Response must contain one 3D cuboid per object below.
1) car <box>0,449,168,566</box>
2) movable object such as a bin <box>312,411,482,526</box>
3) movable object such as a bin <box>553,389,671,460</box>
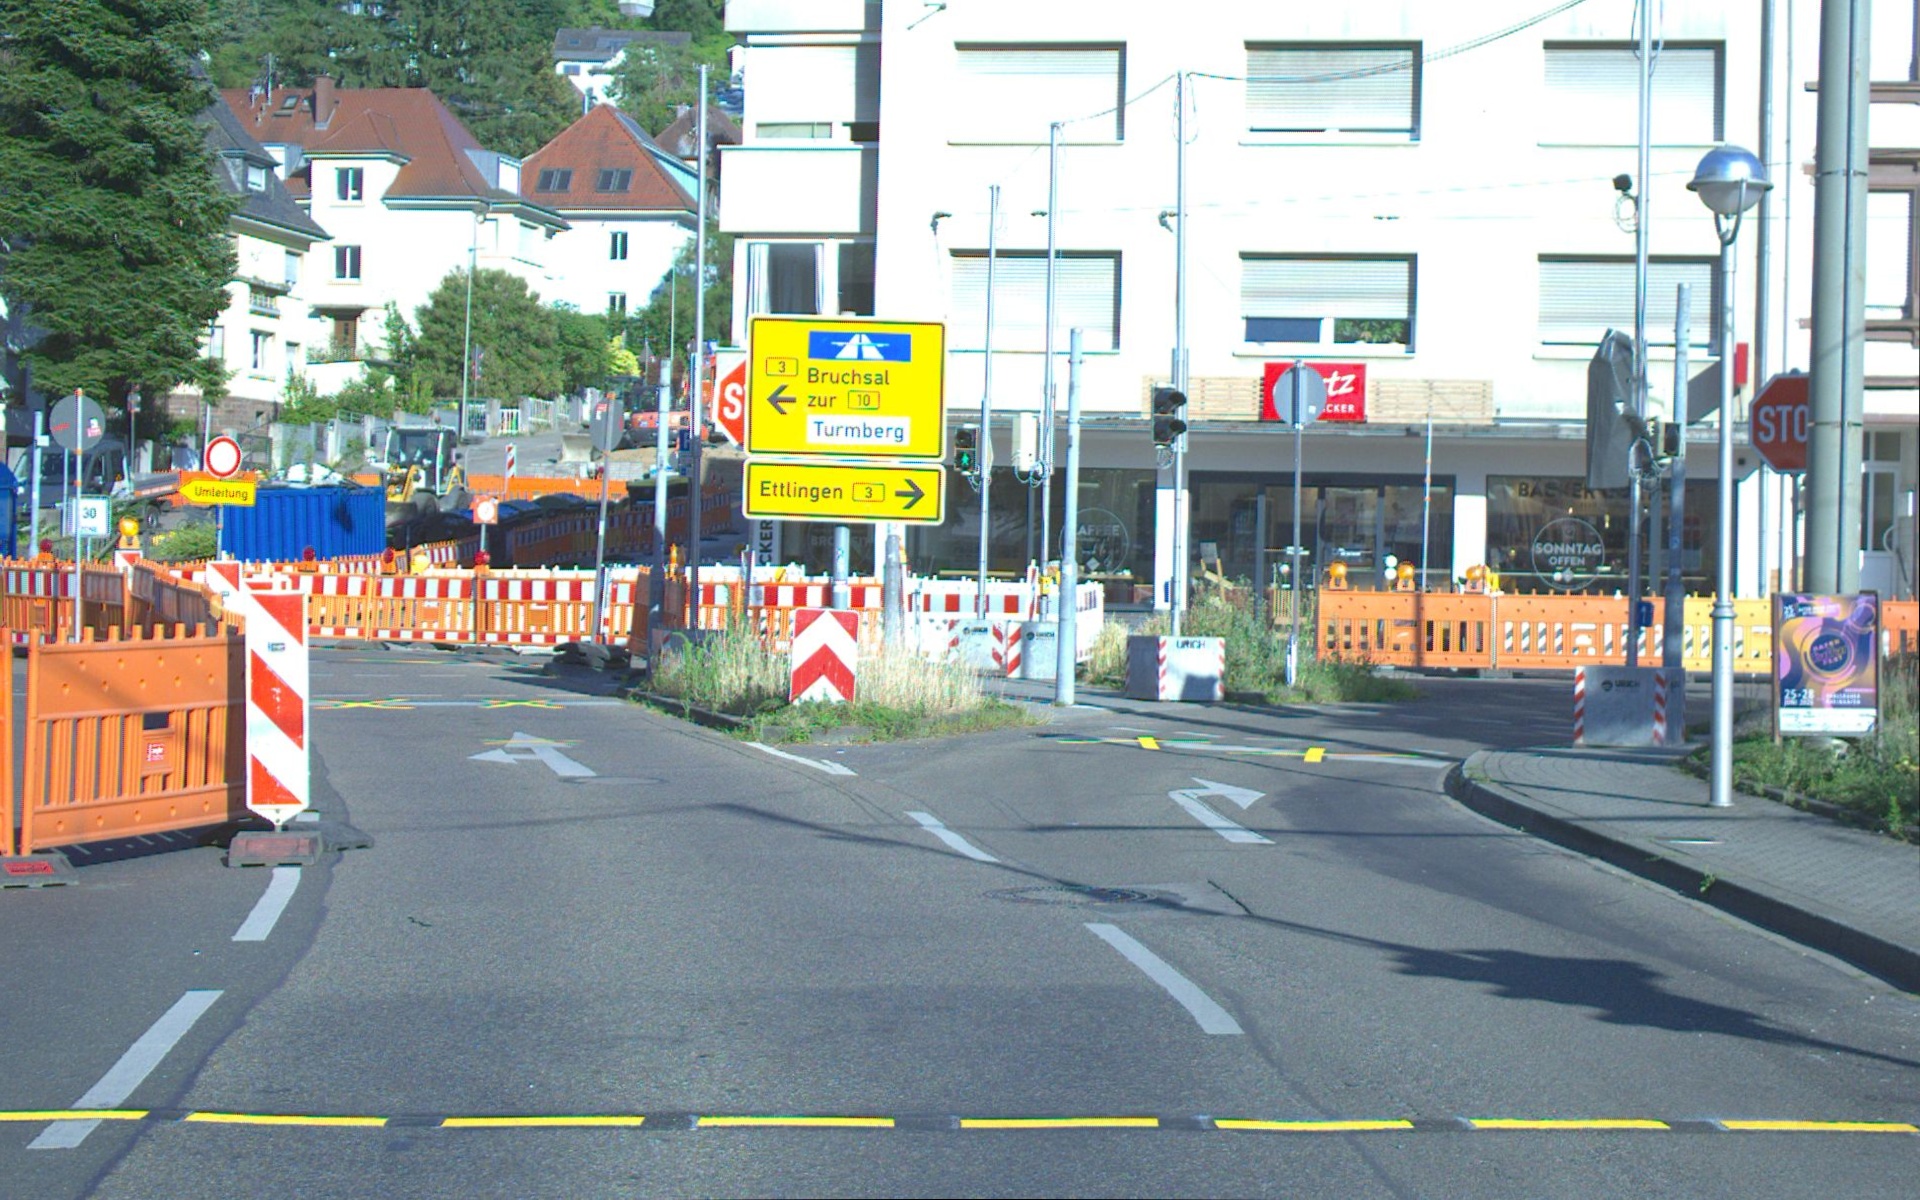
[{"bbox_3d":[-17.998,-1.748,66.131,2.585,2.113,6.145,1,1,18],"label":"car"},{"bbox_3d":[-12.887,-2.982,78.946,1.950,2.486,4.547,1,1,18],"label":"movable object such as a bin"},{"bbox_3d":[-11.588,-5.828,114.840,2.566,2.114,5.782,1,1,8],"label":"movable object such as a bin"}]
